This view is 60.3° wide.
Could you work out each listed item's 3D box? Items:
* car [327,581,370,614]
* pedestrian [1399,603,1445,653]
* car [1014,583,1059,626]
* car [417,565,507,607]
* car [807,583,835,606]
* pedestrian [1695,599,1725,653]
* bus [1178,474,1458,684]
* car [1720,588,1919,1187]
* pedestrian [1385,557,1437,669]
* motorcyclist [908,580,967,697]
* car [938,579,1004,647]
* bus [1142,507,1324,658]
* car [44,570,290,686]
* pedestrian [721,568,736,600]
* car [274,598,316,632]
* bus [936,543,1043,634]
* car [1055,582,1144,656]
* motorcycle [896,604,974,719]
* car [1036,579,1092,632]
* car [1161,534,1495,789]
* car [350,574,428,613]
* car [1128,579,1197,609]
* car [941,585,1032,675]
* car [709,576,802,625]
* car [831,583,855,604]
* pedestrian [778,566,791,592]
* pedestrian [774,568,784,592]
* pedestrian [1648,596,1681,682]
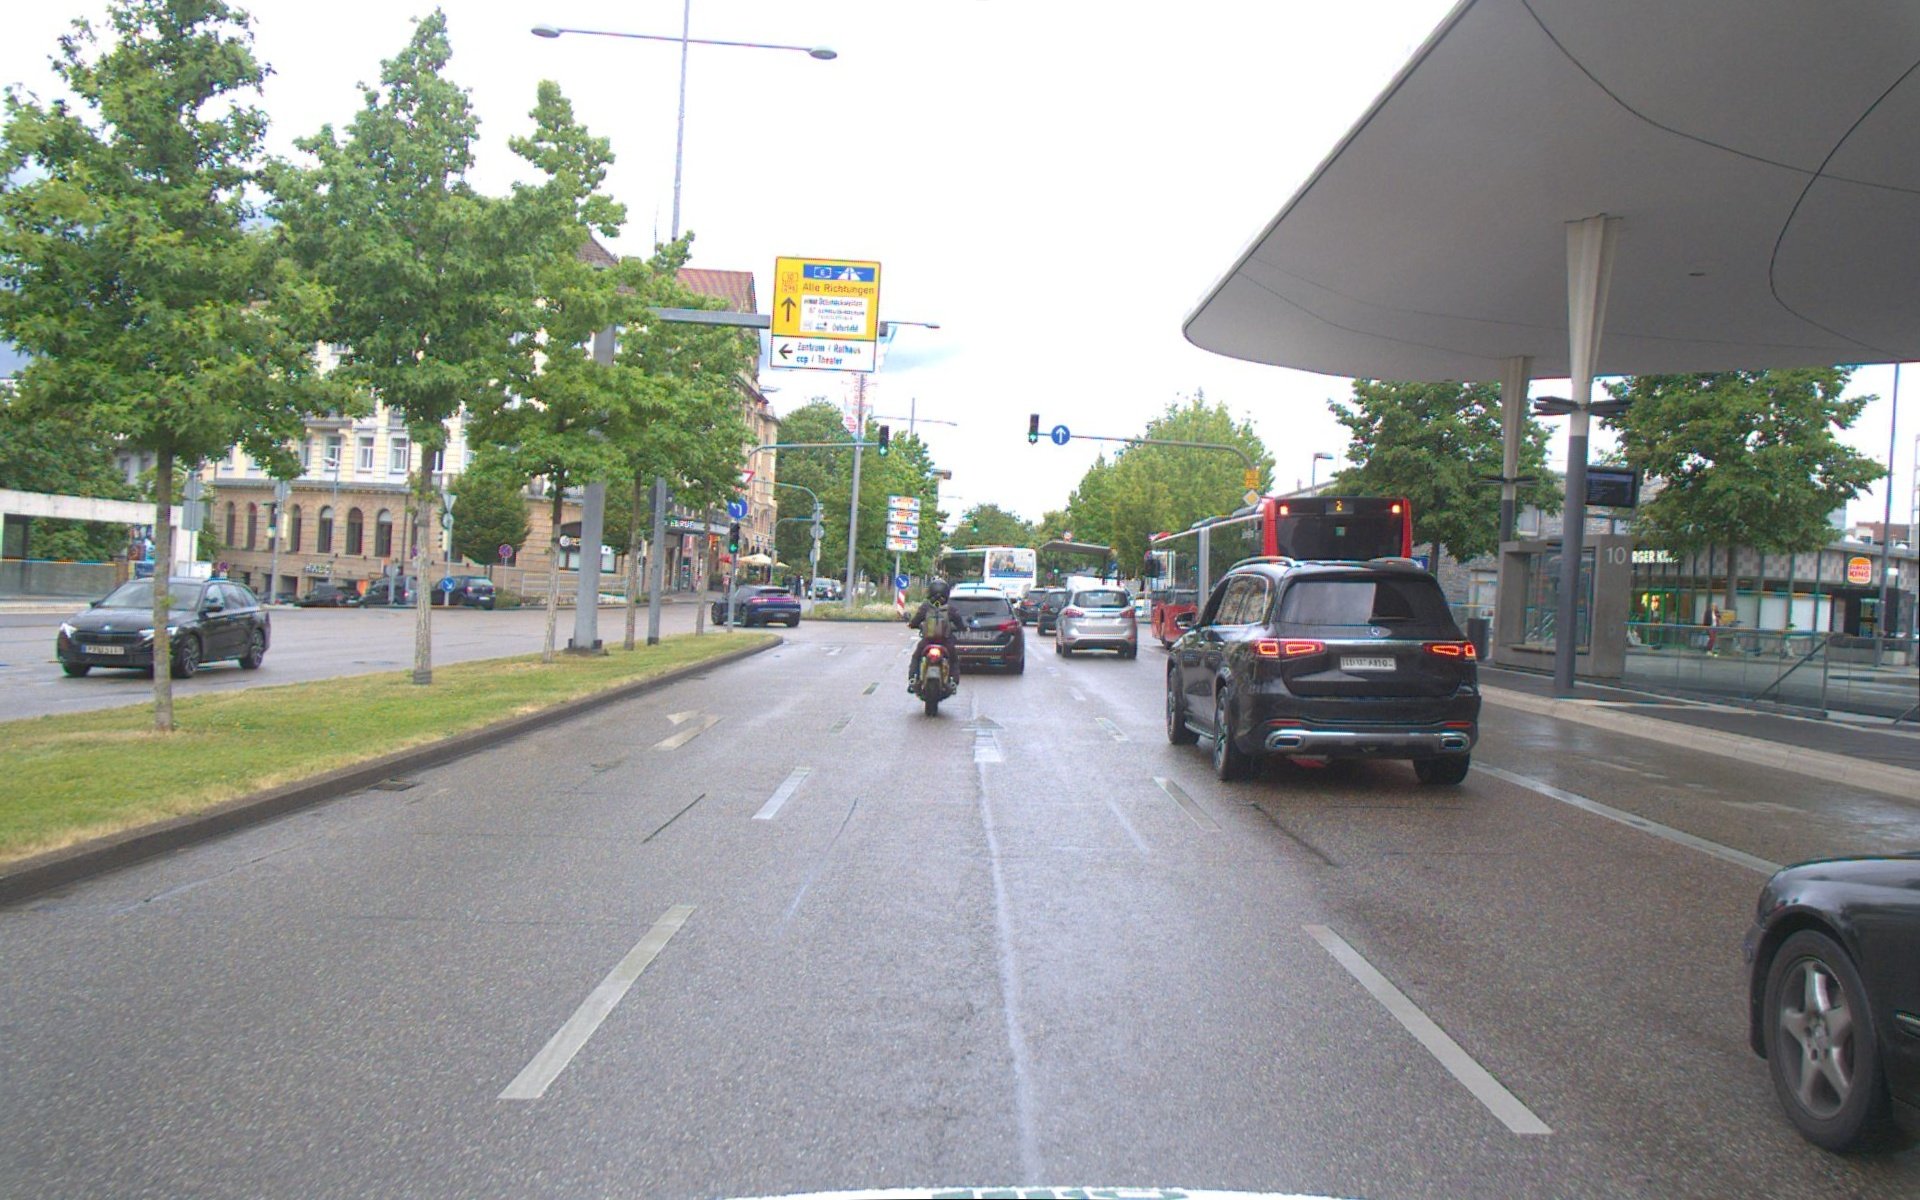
[{"bbox_3d":[-31.450,-0.148,85.039,1.640,1.632,3.222,-1,2,-29],"label":"car"},{"bbox_3d":[10.021,0.610,35.913,0.894,1.002,0.634,3,-4,14],"label":"pedestrian"},{"bbox_3d":[2.911,0.133,63.451,1.543,1.594,3.796,0,0,0],"label":"car"},{"bbox_3d":[-21.726,-0.619,72.126,3.628,1.656,1.837,2,0,33],"label":"car"},{"bbox_3d":[-9.887,-0.425,117.936,1.743,1.594,3.430,0,0,0],"label":"car"},{"bbox_3d":[23.265,0.807,51.310,0.592,1.605,0.673,5,-4,6],"label":"pedestrian"},{"bbox_3d":[6.574,-0.380,32.507,3.218,3.349,10.879,1,0,1],"label":"bus"},{"bbox_3d":[3.296,0.799,3.102,1.663,1.487,4.303,1,2,-1],"label":"car"},{"bbox_3d":[8.598,0.261,31.577,0.761,2.048,0.782,5,-2,13],"label":"pedestrian"},{"bbox_3d":[-0.270,0.455,19.937,0.628,1.371,0.689,1,0,3],"label":"motorcyclist"},{"bbox_3d":[0.254,0.281,40.611,1.543,1.594,3.871,0,0,0],"label":"car"},{"bbox_3d":[6.710,-0.428,42.110,3.223,3.346,8.850,1,0,1],"label":"bus"},{"bbox_3d":[-11.980,0.388,25.361,1.646,1.554,4.637,2,0,-2],"label":"car"},{"bbox_3d":[-15.190,-1.054,108.363,0.715,2.049,0.819,1,0,-26],"label":"pedestrian"},{"bbox_3d":[-35.381,0.781,88.020,1.641,1.632,3.220,-1,2,-30],"label":"car"},{"bbox_3d":[1.294,-0.552,81.987,2.787,4.057,11.832,2,0,-11],"label":"bus"},{"bbox_3d":[3.122,0.392,37.730,1.705,1.594,3.871,0,0,0],"label":"car"},{"bbox_3d":[-0.277,0.704,19.820,0.776,1.284,1.856,1,0,3],"label":"motorcycle"},{"bbox_3d":[3.239,0.138,52.007,1.543,1.594,3.871,0,0,0],"label":"car"},{"bbox_3d":[3.062,0.439,14.868,1.917,1.908,4.873,0,0,0],"label":"car"},{"bbox_3d":[-27.874,-0.331,80.702,2.101,1.807,4.325,1,0,-42],"label":"car"},{"bbox_3d":[11.096,-0.325,90.753,1.565,1.594,3.743,0,1,-39],"label":"car"},{"bbox_3d":[0.476,0.488,30.089,1.543,1.531,3.871,0,0,1],"label":"car"},{"bbox_3d":[-7.030,-0.008,56.593,1.795,1.598,4.365,0,1,-27],"label":"car"},{"bbox_3d":[-8.754,-0.491,124.290,1.543,1.594,3.430,0,0,0],"label":"car"},{"bbox_3d":[-13.398,-1.592,126.242,0.715,2.000,0.819,1,0,-26],"label":"pedestrian"},{"bbox_3d":[-13.989,-1.525,127.713,0.551,1.809,0.497,1,0,35],"label":"pedestrian"},{"bbox_3d":[14.273,0.791,33.507,0.563,1.707,0.582,1,-1,26],"label":"pedestrian"}]
